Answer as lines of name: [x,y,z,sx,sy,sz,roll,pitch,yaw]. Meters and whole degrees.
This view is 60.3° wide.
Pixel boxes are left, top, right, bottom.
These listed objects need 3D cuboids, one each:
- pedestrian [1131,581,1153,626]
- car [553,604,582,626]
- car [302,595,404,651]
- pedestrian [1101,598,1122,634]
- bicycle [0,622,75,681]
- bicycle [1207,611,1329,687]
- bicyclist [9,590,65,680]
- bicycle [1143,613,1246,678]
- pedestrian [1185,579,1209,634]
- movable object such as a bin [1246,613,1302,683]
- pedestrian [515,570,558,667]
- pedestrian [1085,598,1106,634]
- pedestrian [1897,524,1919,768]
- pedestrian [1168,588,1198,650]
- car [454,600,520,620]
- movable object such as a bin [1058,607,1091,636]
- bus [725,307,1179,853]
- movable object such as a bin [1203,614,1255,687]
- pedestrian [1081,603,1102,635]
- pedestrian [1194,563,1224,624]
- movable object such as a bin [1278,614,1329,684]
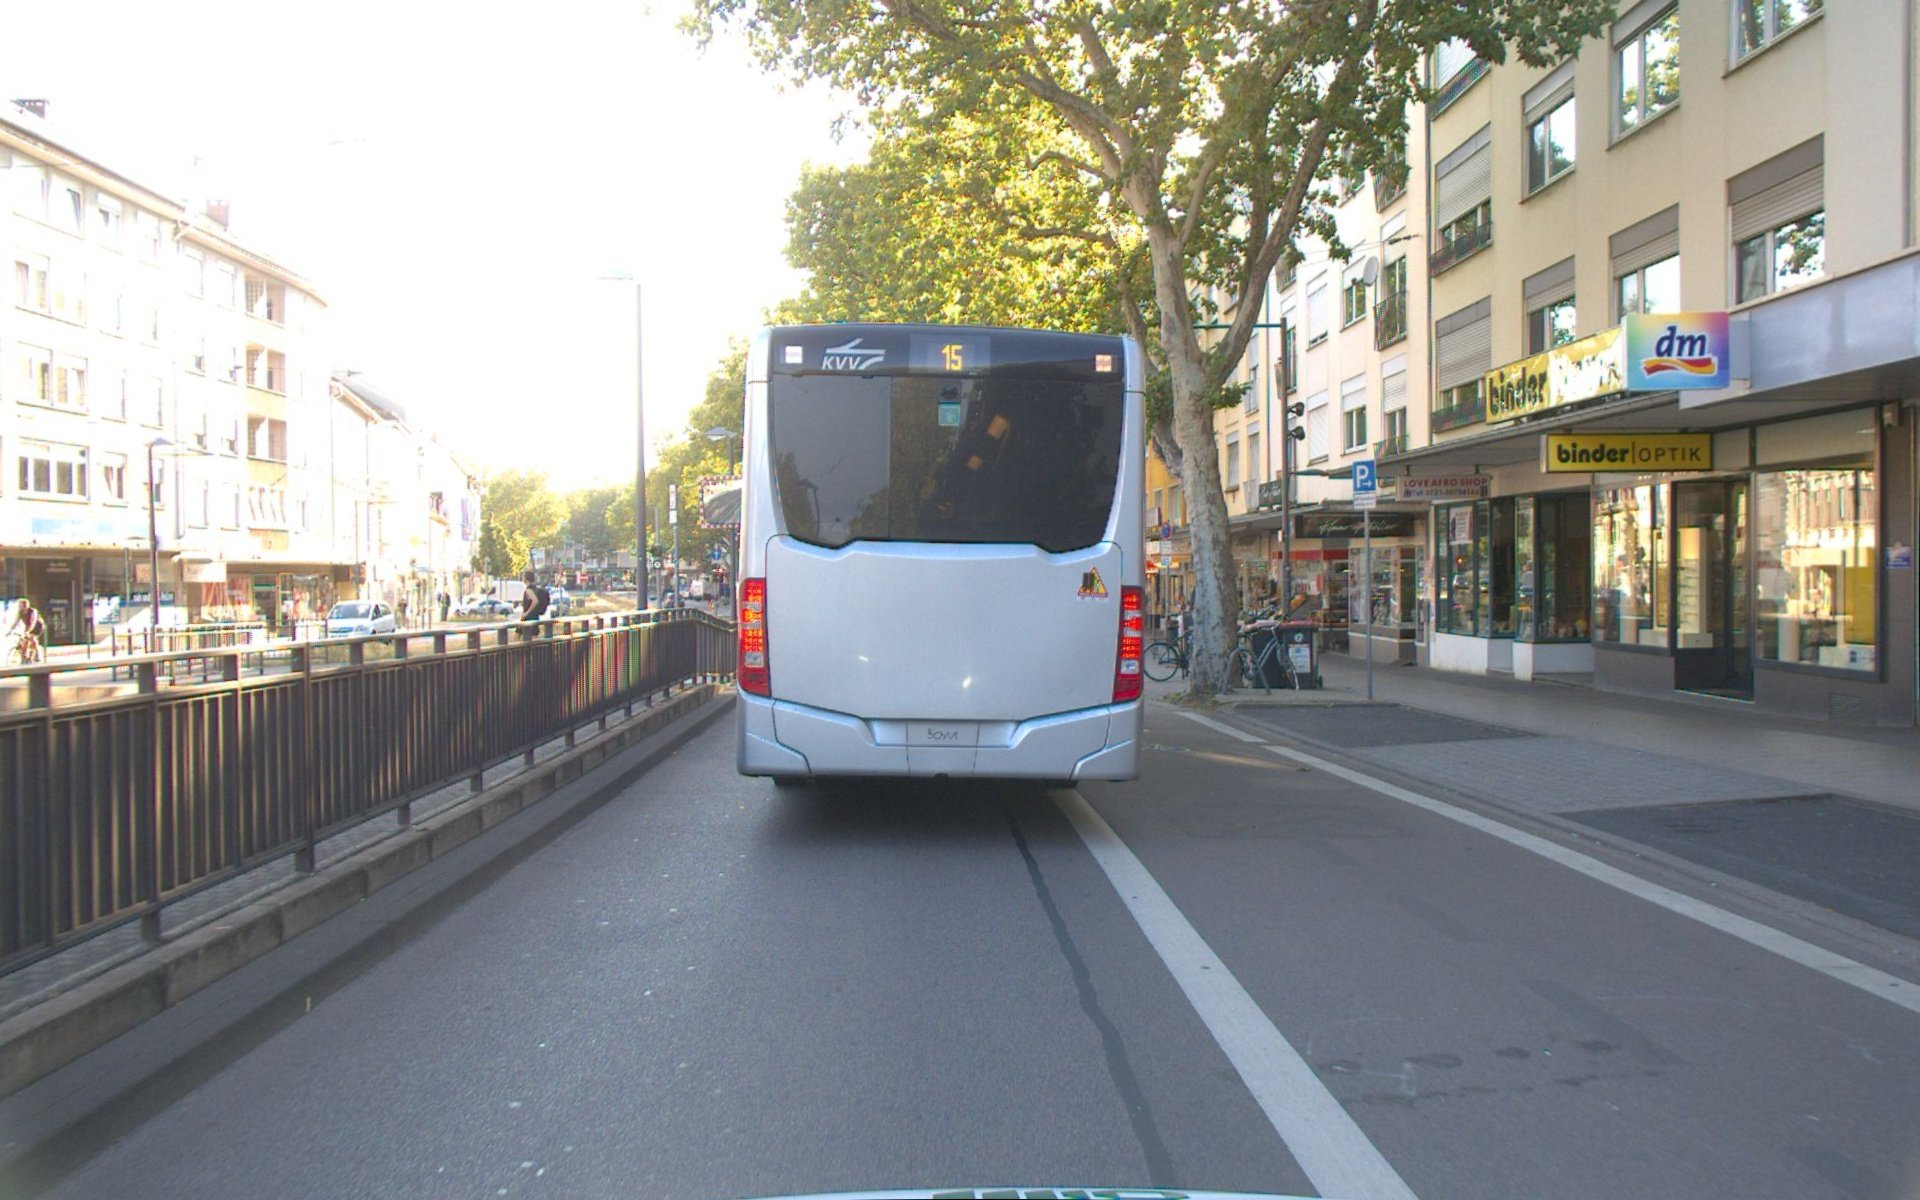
pedestrian: [7.508,0.135,68.302,0.693,1.822,0.787,-4,0,-3]
car: [-29.029,1.097,122.343,1.690,1.535,3.470,-3,0,-8]
car: [-20.164,0.737,55.103,1.954,1.747,4.433,-1,1,-3]
pedestrian: [5.499,0.577,59.933,0.572,1.297,0.757,1,0,-8]
bicycle: [-21.320,1.168,38.096,0.703,1.251,2.277,-1,0,-3]
bicycle: [4.667,0.750,25.131,1.683,1.137,0.745,0,-3,-2]
bicyclist: [-21.328,0.792,38.228,0.748,2.049,0.911,-1,0,-3]
bicycle: [4.430,0.858,31.322,1.867,1.124,0.518,-3,0,4]
pedestrian: [7.999,0.213,55.901,0.623,1.835,0.626,-1,0,27]
movable object such as a bin: [5.164,0.779,27.233,0.708,1.090,0.643,-3,0,-4]
pedestrian: [-8.307,0.355,32.472,0.727,1.881,0.589,-1,0,-7]
pedestrian: [4.757,0.567,58.186,0.594,1.246,0.743,0,0,-8]
pedestrian: [7.543,0.322,11.849,0.948,1.794,1.133,-2,-1,-1]
pedestrian: [5.969,0.503,44.357,0.623,1.614,0.626,-3,0,-3]
car: [-36.513,0.751,127.794,1.966,1.437,4.520,0,0,44]
movable object such as a bin: [4.253,0.793,61.401,0.917,1.041,0.831,1,0,-32]
bus: [-0.252,-0.147,13.154,2.625,3.137,7.109,0,0,-4]
movable object such as a bin: [4.363,0.816,26.889,0.707,1.121,0.644,-4,0,5]
pedestrian: [4.813,0.689,60.571,0.572,1.135,0.749,1,0,-8]
pedestrian: [6.681,-0.177,44.459,0.610,1.614,0.626,-3,0,-3]
movable object such as a bin: [5.570,0.788,26.802,0.707,1.090,0.644,-2,0,17]
